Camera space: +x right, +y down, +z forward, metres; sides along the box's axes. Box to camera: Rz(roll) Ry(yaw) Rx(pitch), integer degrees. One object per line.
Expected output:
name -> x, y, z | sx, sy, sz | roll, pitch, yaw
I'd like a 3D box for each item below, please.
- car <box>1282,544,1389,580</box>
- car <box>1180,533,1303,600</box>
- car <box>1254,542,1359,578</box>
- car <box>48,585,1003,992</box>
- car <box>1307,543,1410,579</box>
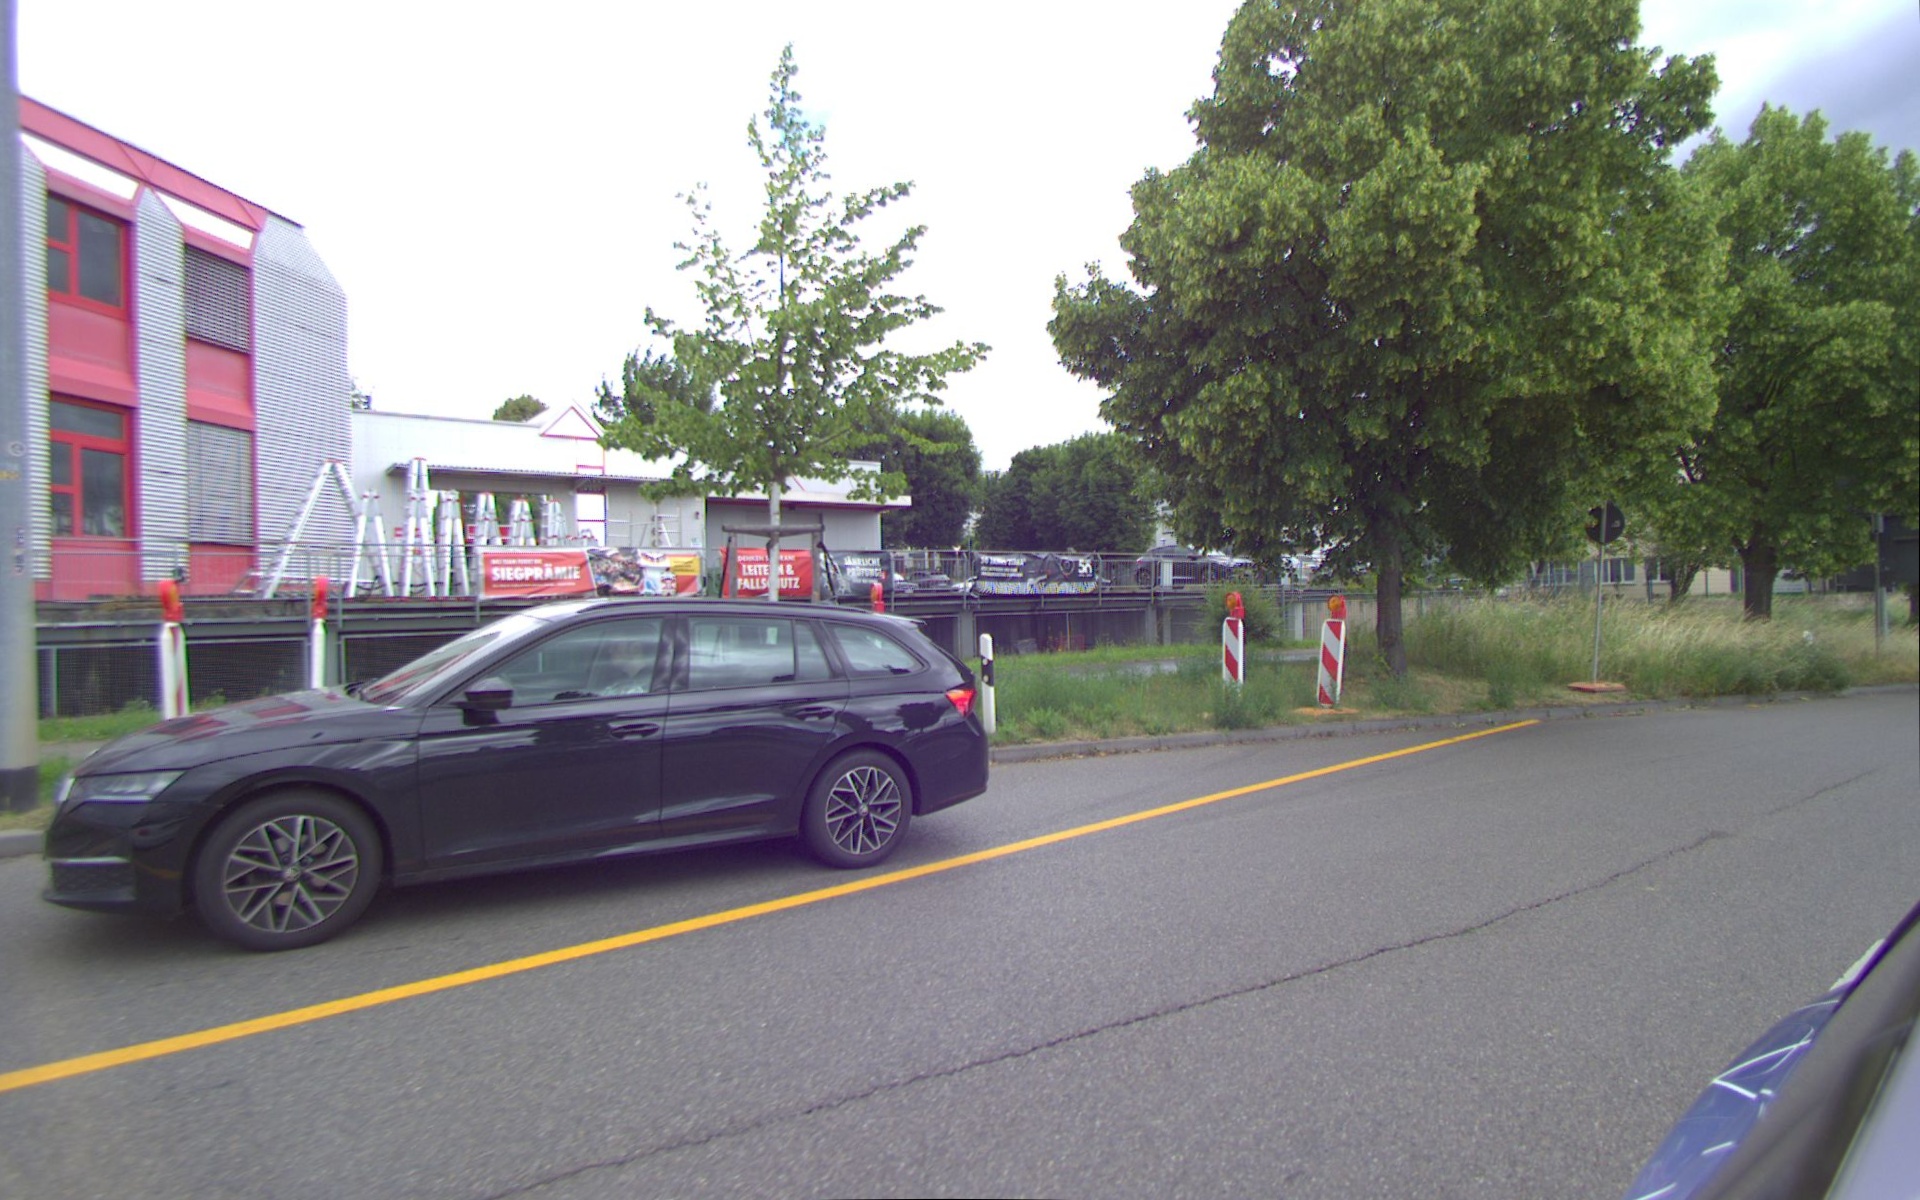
car -> 15.619, -1.554, 42.297 | 1.721, 1.385, 3.941 | 1, 1, -33
car -> 9.160, -1.029, 33.175 | 1.611, 1.984, 3.768 | 2, -2, -33
car -> 14.017, -1.593, 41.052 | 1.721, 1.381, 3.769 | 1, 1, -33
car -> -2.013, 0.688, 5.575 | 4.194, 1.450, 1.843 | 1, 1, -33
car -> 17.480, -1.693, 44.496 | 1.721, 1.501, 3.941 | 1, 1, -33
